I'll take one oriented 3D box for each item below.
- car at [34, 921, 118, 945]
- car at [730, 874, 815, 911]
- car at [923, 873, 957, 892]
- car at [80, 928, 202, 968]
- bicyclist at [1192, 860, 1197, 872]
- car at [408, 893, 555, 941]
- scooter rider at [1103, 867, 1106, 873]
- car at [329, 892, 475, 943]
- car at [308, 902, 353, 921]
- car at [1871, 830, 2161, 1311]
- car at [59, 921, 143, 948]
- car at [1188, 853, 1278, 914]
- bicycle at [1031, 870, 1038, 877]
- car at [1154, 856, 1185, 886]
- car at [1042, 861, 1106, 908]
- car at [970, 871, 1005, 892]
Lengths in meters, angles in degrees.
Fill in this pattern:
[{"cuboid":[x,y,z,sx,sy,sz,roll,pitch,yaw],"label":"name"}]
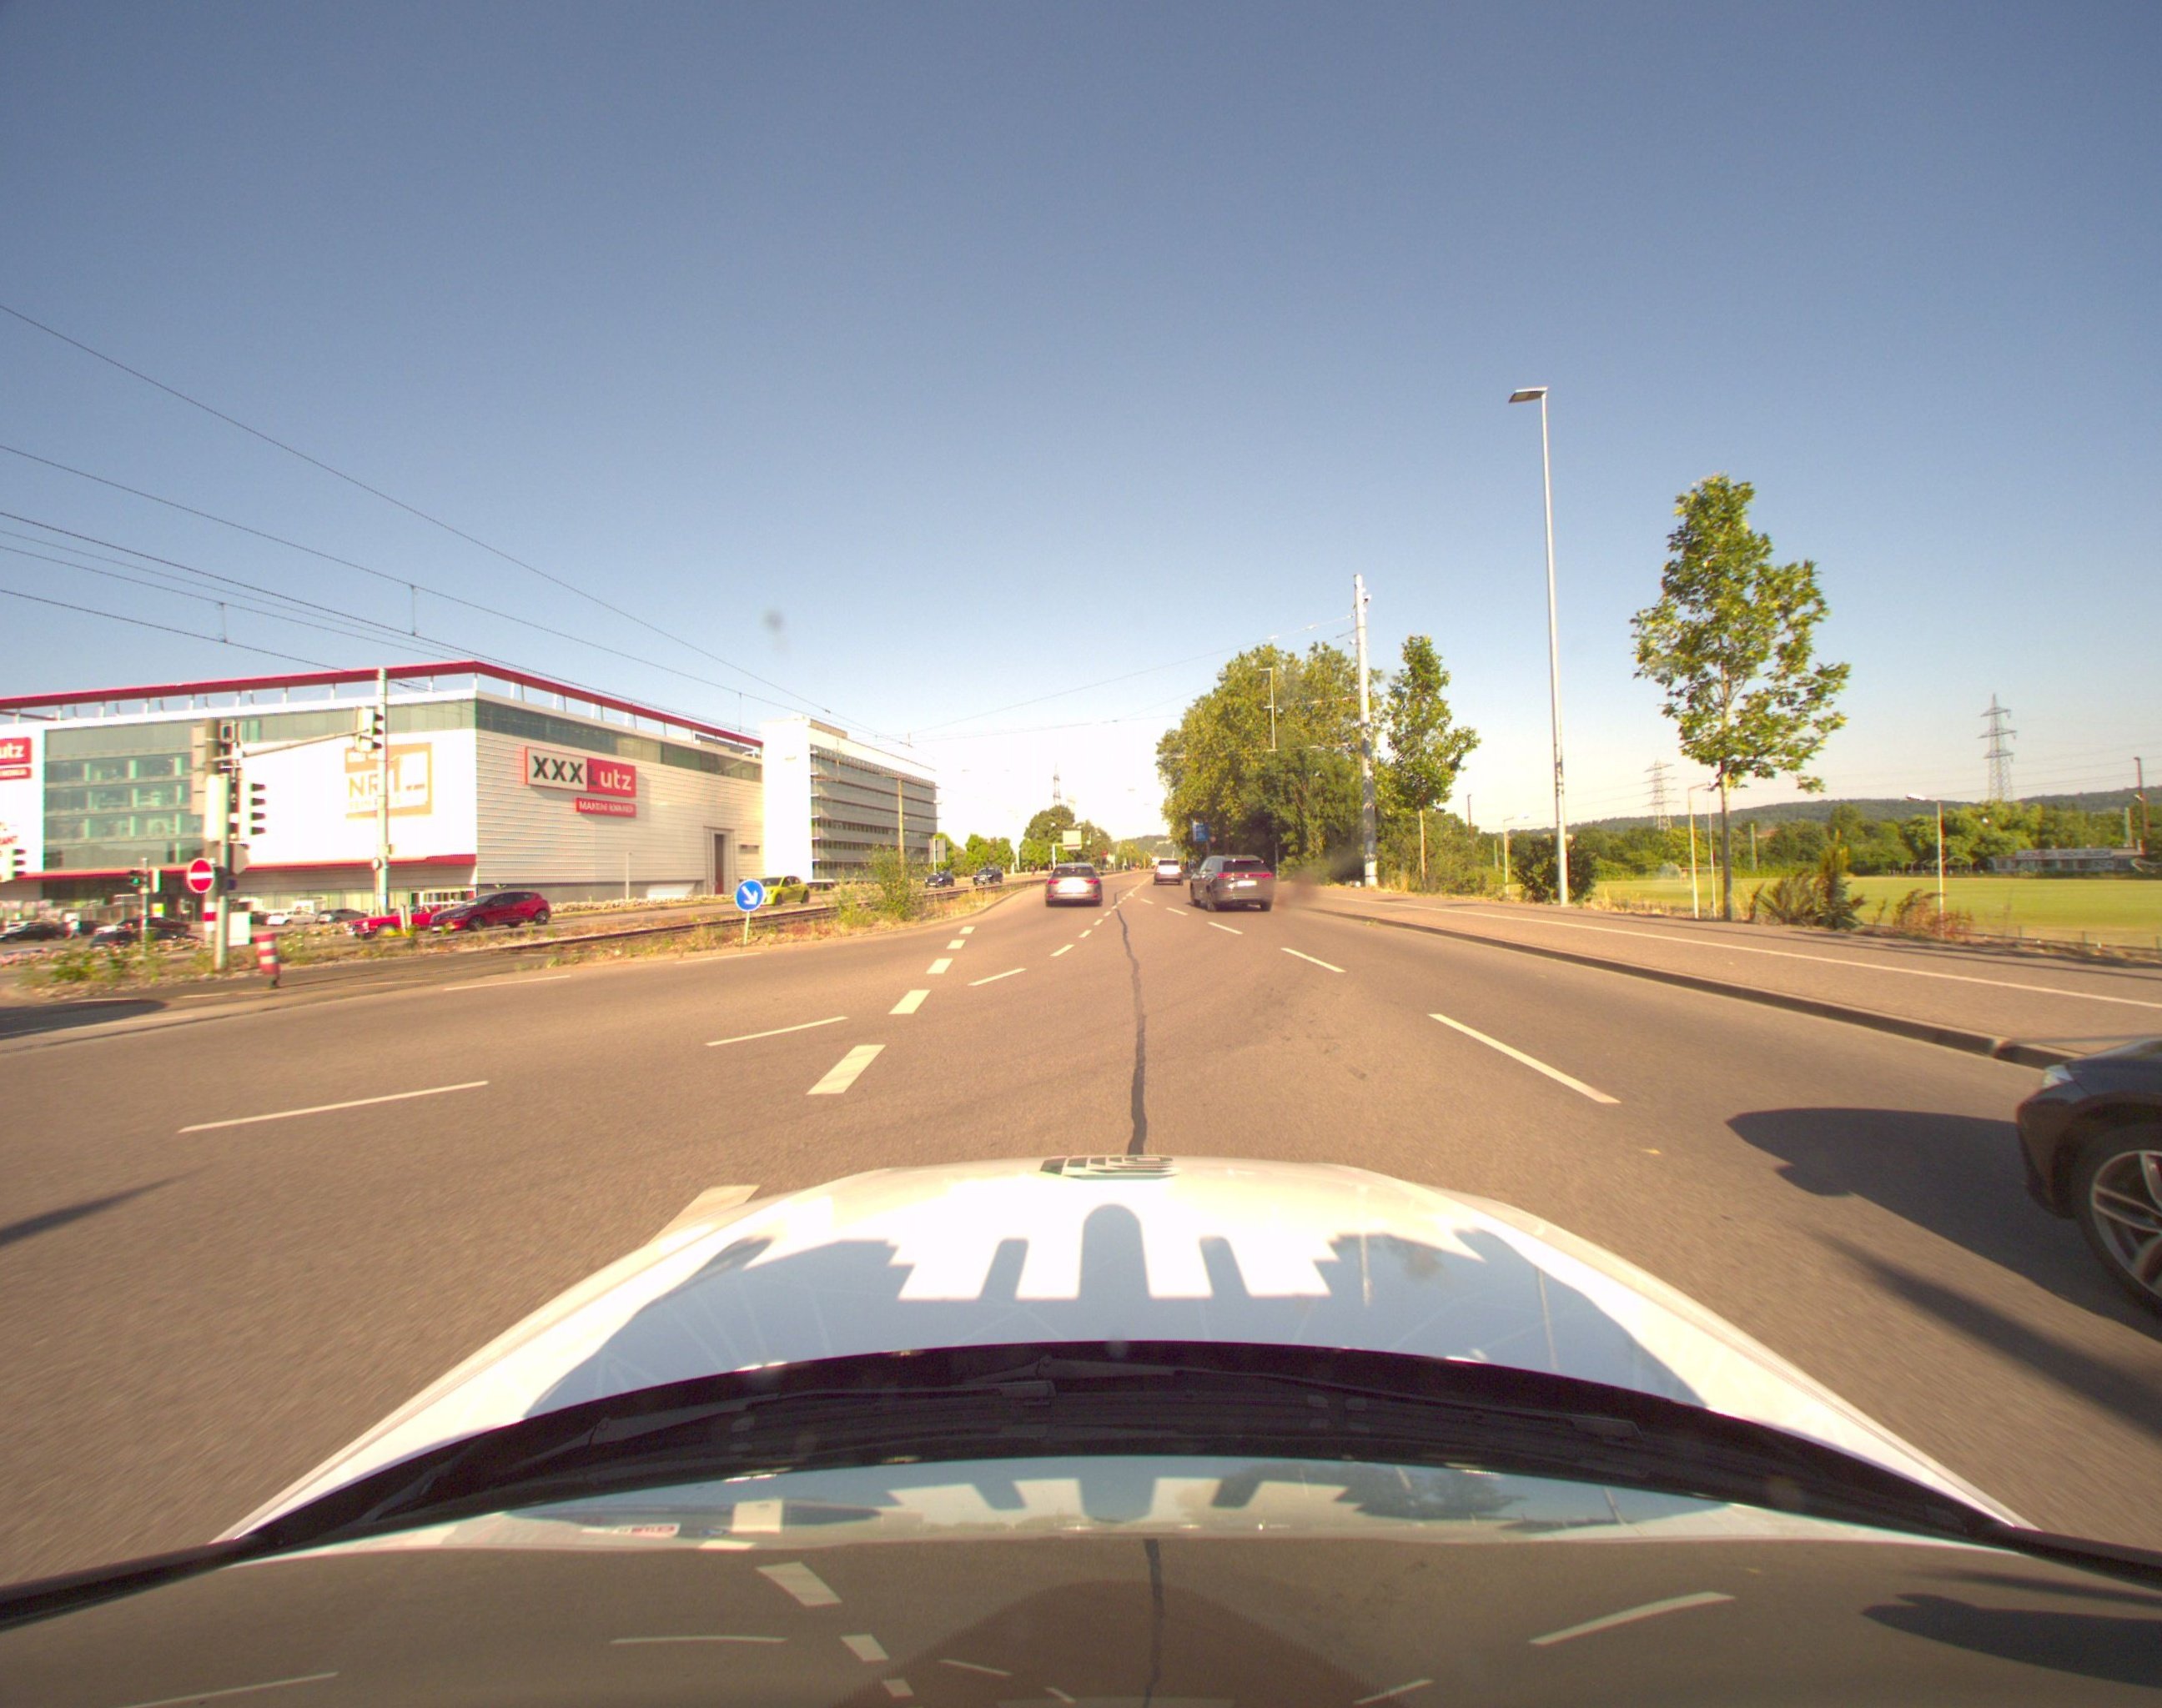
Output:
[{"cuboid":[-85.310,6.695,69.198,1.964,1.702,4.007,0,0,7],"label":"car"},{"cuboid":[-13.956,1.701,37.123,1.773,1.447,4.117,-4,-1,8],"label":"car"},{"cuboid":[-12.230,2.437,71.005,1.847,1.461,4.144,-2,-1,6],"label":"car"},{"cuboid":[-52.402,5.220,45.520,1.850,1.723,4.016,-3,-1,15],"label":"car"},{"cuboid":[15.156,1.574,108.699,0.682,1.509,0.892,-2,-1,7],"label":"bicyclist"},{"cuboid":[-22.960,2.375,31.390,1.920,1.476,4.150,-5,-2,17],"label":"car"},{"cuboid":[7.038,4.704,244.805,0.677,1.848,1.004,-3,-1,15],"label":"scooter rider"},{"cuboid":[-26.923,2.482,32.469,1.805,1.643,4.022,-4,-1,22],"label":"car"},{"cuboid":[-80.705,6.181,87.569,1.497,1.855,3.298,0,0,10],"label":"car"},{"cuboid":[4.080,0.636,1.109,1.856,1.467,4.593,-1,-1,6],"label":"car"},{"cuboid":[-81.474,6.671,67.772,1.983,1.814,4.007,0,0,7],"label":"car"},{"cuboid":[4.504,0.825,24.783,1.839,1.661,4.437,-1,0,-1],"label":"car"},{"cuboid":[-8.246,3.441,144.393,0.656,1.151,2.031,0,0,17],"label":"bicycle"},{"cuboid":[5.646,1.043,51.932,1.873,1.796,4.007,0,0,7],"label":"car"},{"cuboid":[-0.155,0.985,28.109,1.858,1.467,4.670,0,0,3],"label":"car"},{"cuboid":[-8.412,2.460,73.736,1.982,1.655,4.669,-3,-1,8],"label":"car"}]
